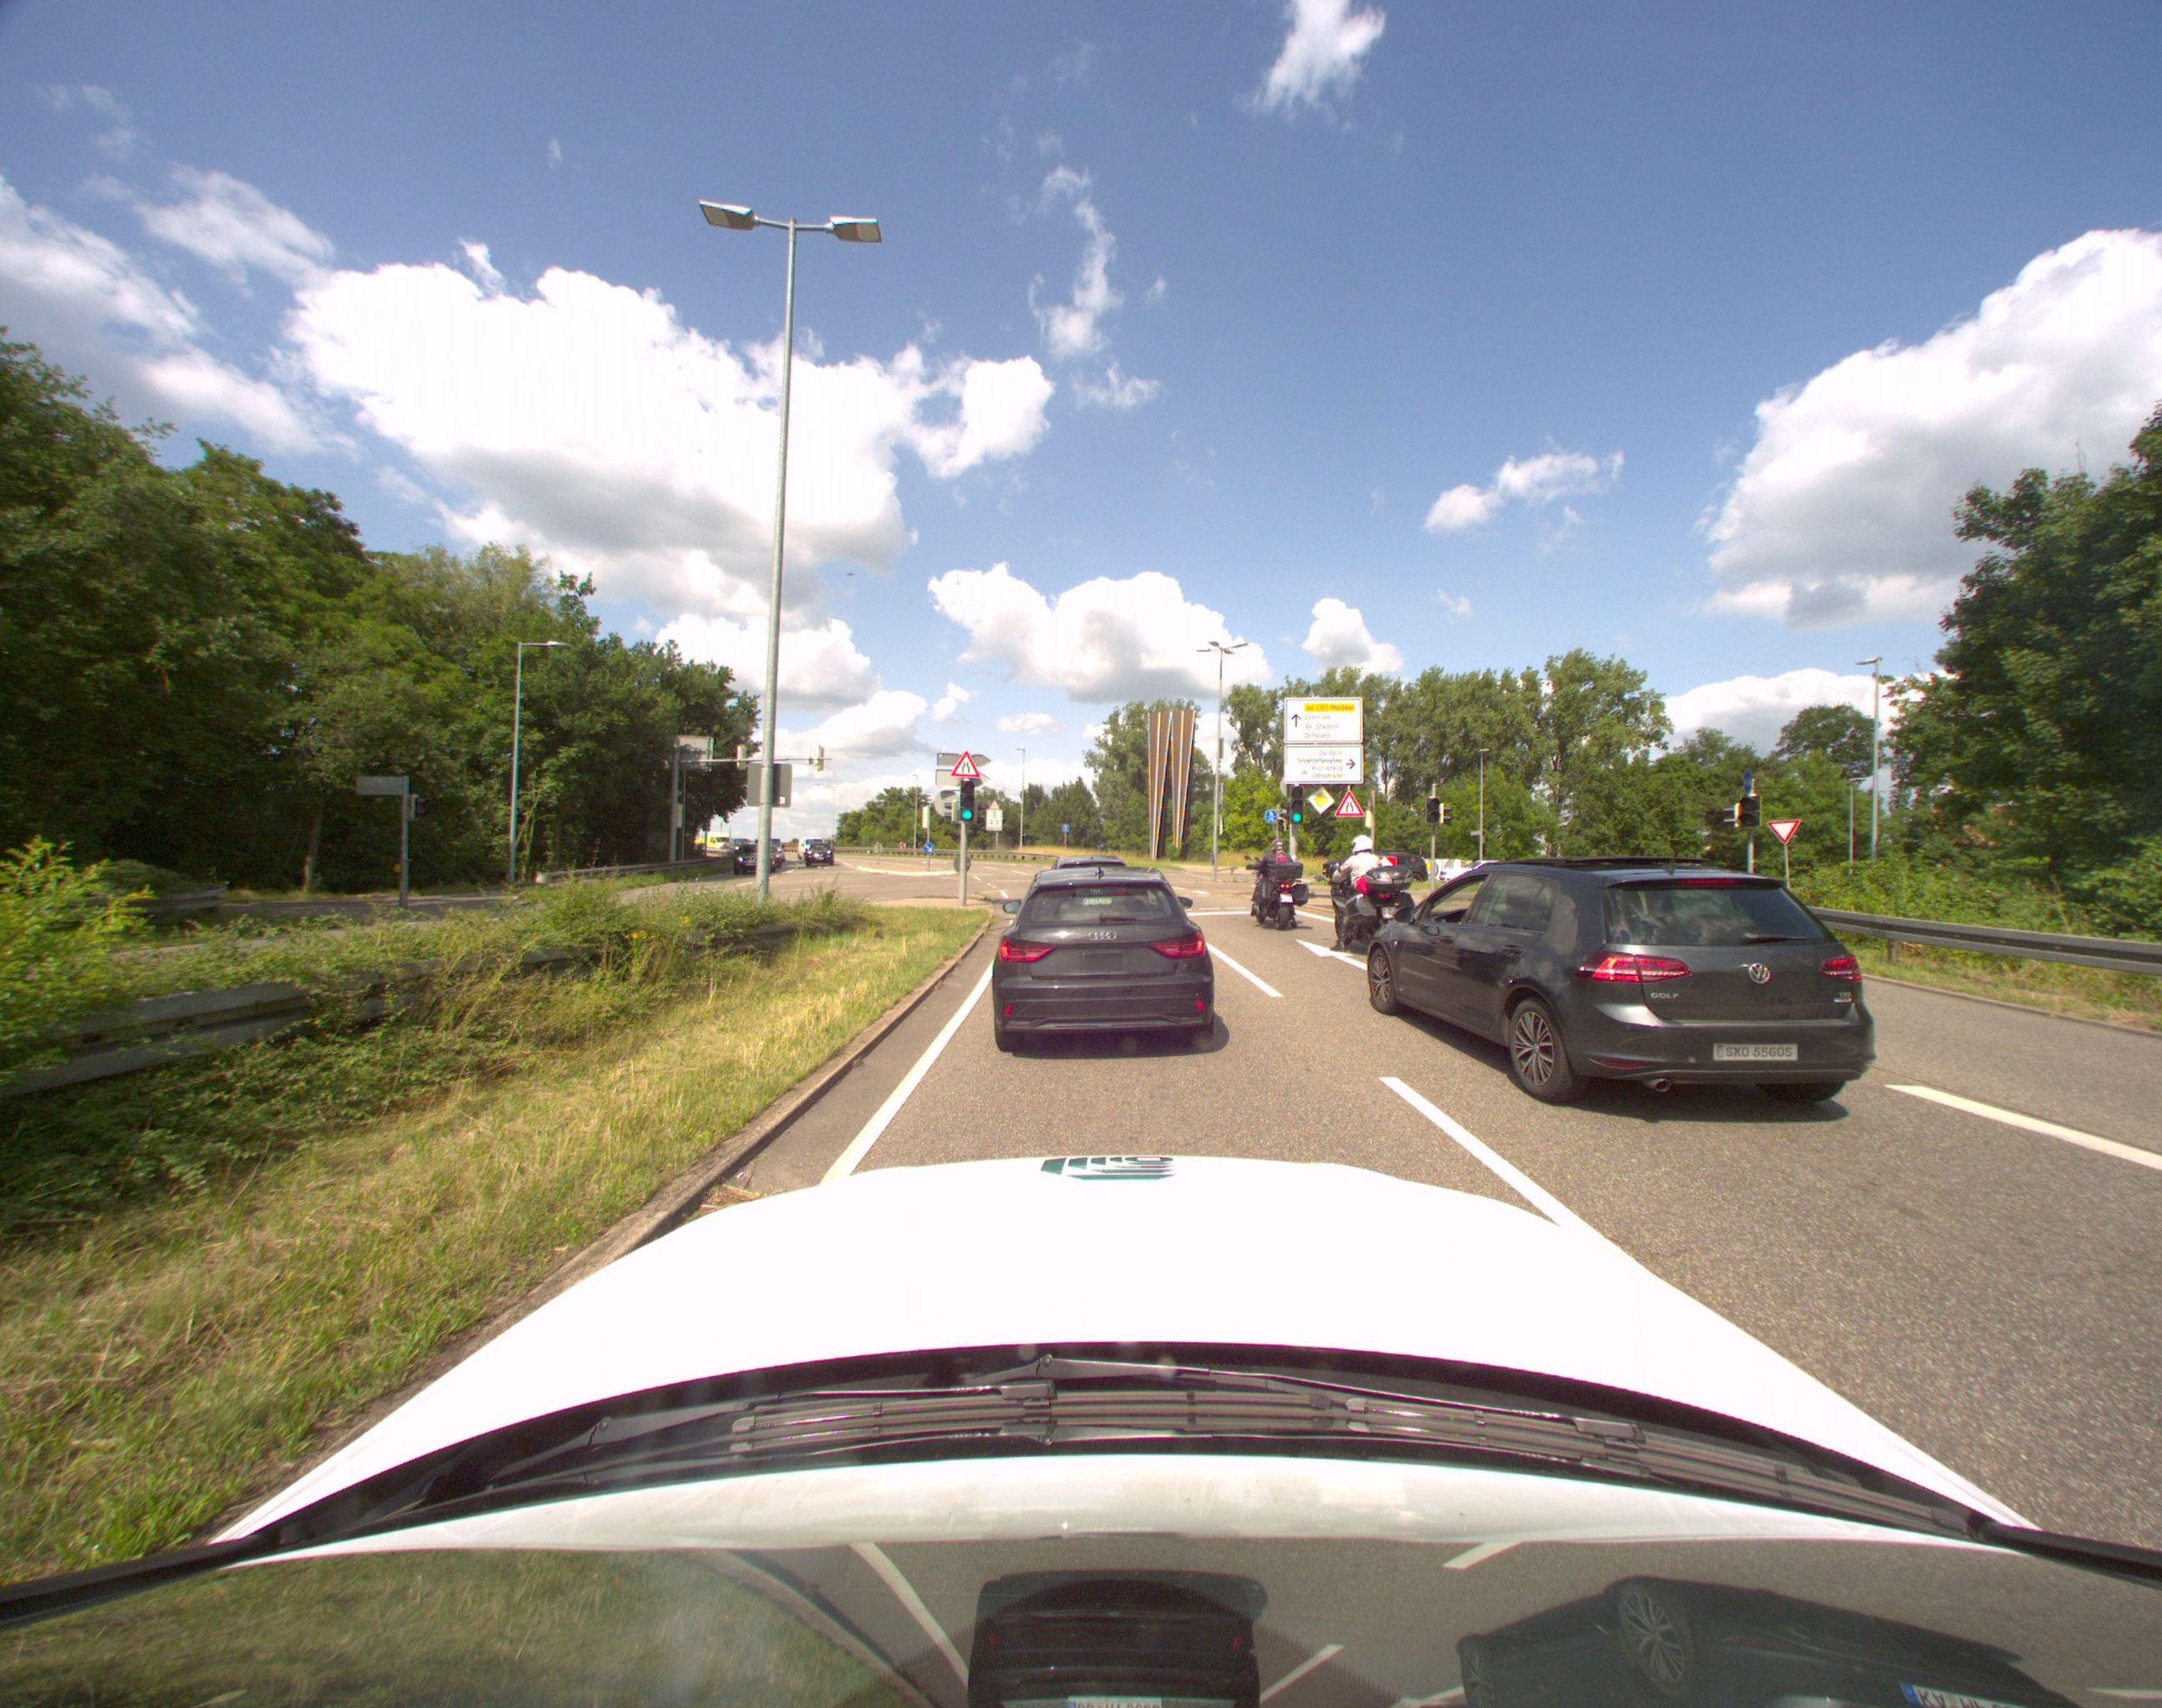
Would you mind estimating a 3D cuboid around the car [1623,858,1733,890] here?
[{"bbox_3d":[29.368,0.982,40.119,4.212,1.476,1.736,1,0,-2],"label":"car"}]

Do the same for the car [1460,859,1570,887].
[{"bbox_3d":[21.112,0.910,39.709,4.460,1.320,1.736,1,0,-2],"label":"car"}]

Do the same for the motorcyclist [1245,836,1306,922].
[{"bbox_3d":[3.714,0.464,15.606,0.933,1.590,1.084,0,0,1],"label":"motorcyclist"}]

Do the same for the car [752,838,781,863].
[{"bbox_3d":[-23.194,-0.251,60.229,1.849,1.802,4.299,1,0,-19],"label":"car"}]

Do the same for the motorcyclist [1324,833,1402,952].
[{"bbox_3d":[4.151,0.545,12.051,0.862,1.700,0.895,0,0,1],"label":"motorcyclist"}]

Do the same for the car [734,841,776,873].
[{"bbox_3d":[-17.428,0.195,43.710,1.844,1.618,3.974,0,-1,-19],"label":"car"}]

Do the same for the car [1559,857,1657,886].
[{"bbox_3d":[28.397,0.940,43.927,4.212,1.476,1.736,1,0,-2],"label":"car"}]

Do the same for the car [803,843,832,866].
[{"bbox_3d":[-17.766,0.009,54.998,1.735,1.496,4.023,1,0,-17],"label":"car"}]

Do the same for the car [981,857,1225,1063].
[{"bbox_3d":[0.220,0.773,7.868,1.720,1.404,4.002,-1,0,2],"label":"car"}]

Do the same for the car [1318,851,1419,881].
[{"bbox_3d":[15.300,0.628,43.527,4.831,1.545,1.737,1,0,0],"label":"car"}]

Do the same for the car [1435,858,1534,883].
[{"bbox_3d":[21.571,0.885,43.636,4.481,1.281,1.736,1,0,-2],"label":"car"}]

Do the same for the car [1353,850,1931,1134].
[{"bbox_3d":[3.624,0.717,6.297,1.725,1.476,4.047,1,0,1],"label":"car"}]

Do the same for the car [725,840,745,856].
[{"bbox_3d":[-38.803,-0.652,91.285,1.853,1.705,4.289,1,0,-26],"label":"car"}]

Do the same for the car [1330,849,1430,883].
[{"bbox_3d":[14.523,0.571,39.690,4.253,1.545,1.737,1,0,0],"label":"car"}]

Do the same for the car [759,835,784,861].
[{"bbox_3d":[-25.746,-0.496,67.642,1.850,2.100,4.295,1,0,-22],"label":"car"}]

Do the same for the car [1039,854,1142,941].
[{"bbox_3d":[0.093,0.734,15.715,1.722,1.423,3.841,-1,0,-2],"label":"car"}]

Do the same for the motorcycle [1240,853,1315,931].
[{"bbox_3d":[3.714,0.671,15.594,0.933,1.383,2.371,0,0,2],"label":"motorcycle"}]

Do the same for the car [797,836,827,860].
[{"bbox_3d":[-23.541,-0.495,71.147,2.003,2.013,4.434,1,0,-24],"label":"car"}]

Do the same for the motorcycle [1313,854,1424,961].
[{"bbox_3d":[4.150,0.706,11.979,0.862,1.389,2.371,0,0,2],"label":"motorcycle"}]

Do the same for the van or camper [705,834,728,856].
[{"bbox_3d":[-46.599,-1.092,103.953,2.006,2.683,6.798,0,0,-30],"label":"van or camper"}]

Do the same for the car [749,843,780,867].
[{"bbox_3d":[-20.535,0.040,52.969,1.737,1.476,4.021,1,0,-19],"label":"car"}]
